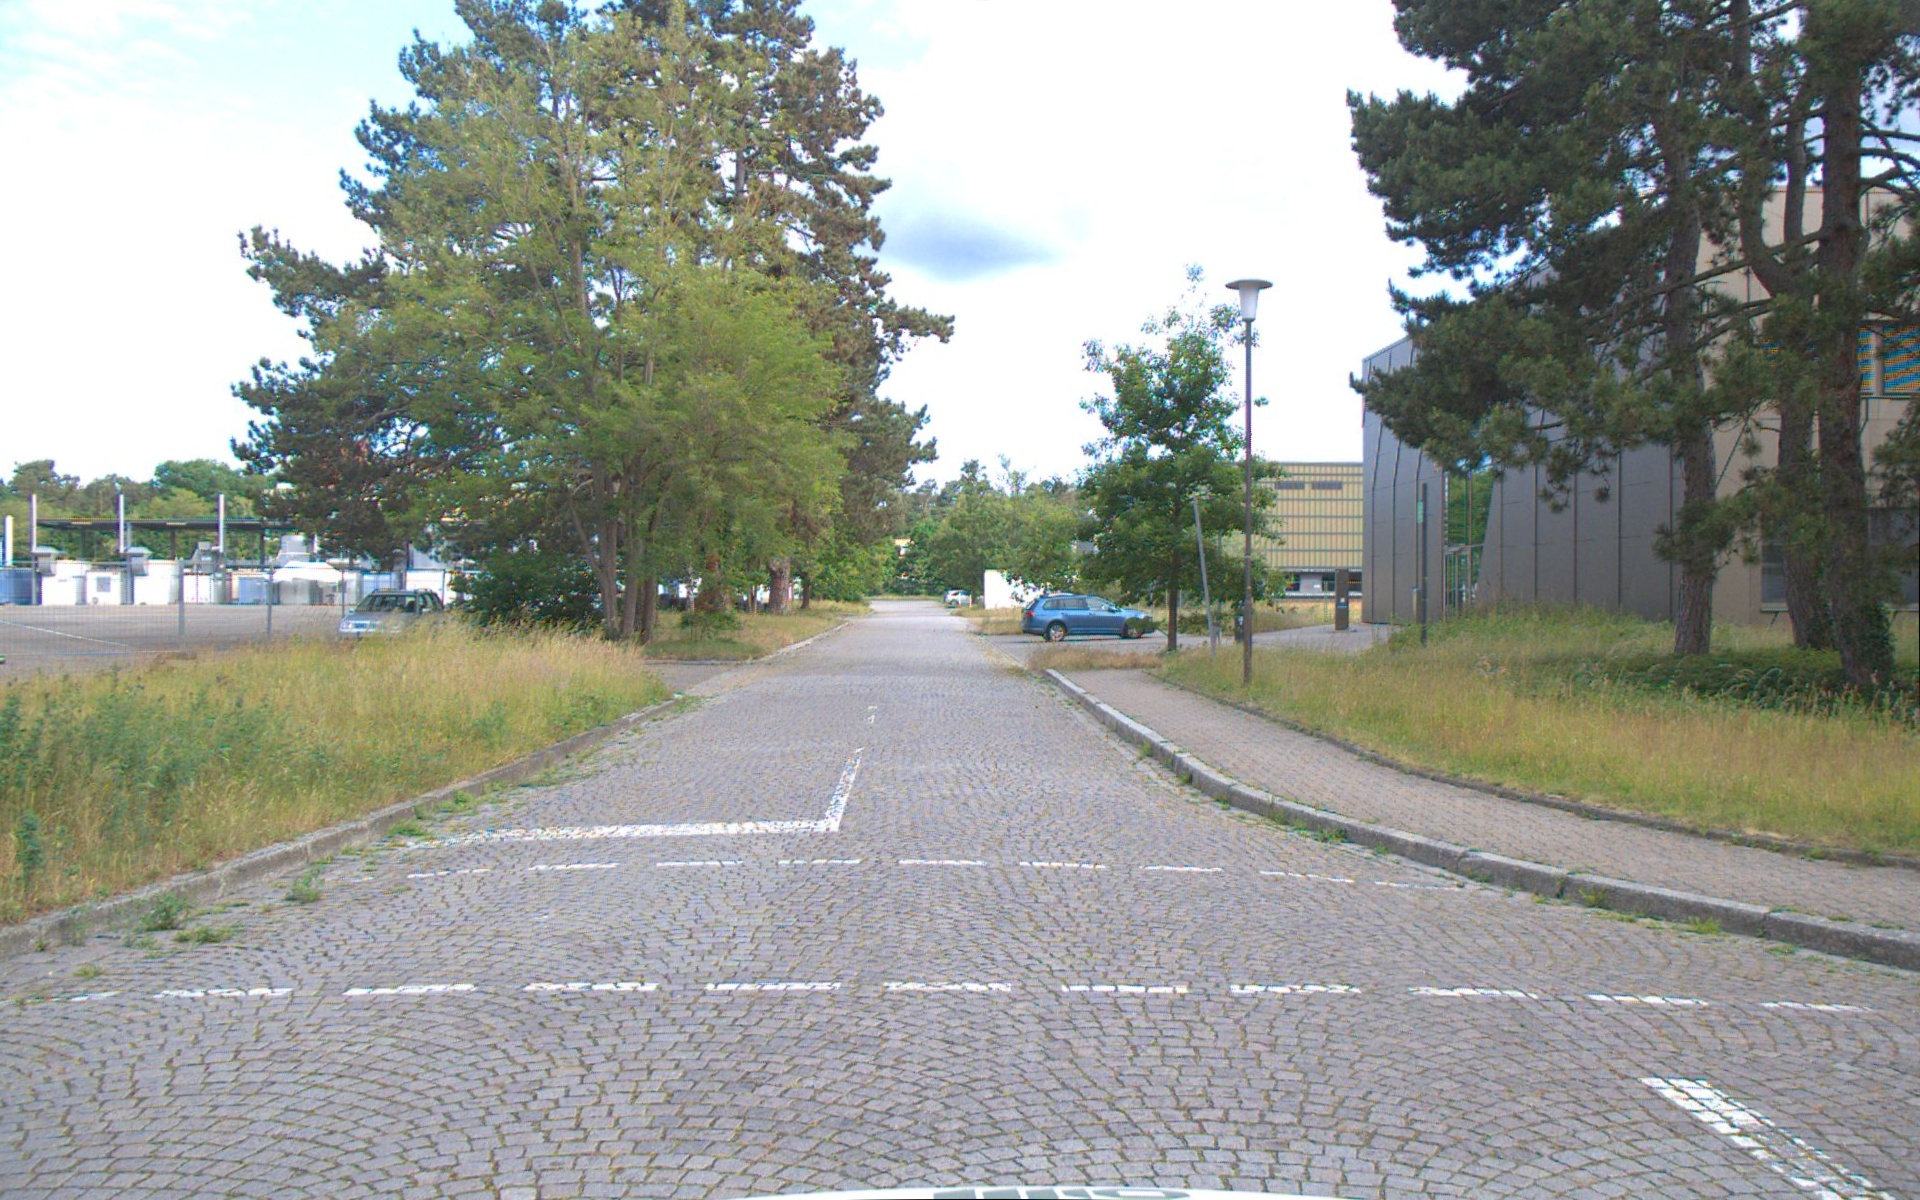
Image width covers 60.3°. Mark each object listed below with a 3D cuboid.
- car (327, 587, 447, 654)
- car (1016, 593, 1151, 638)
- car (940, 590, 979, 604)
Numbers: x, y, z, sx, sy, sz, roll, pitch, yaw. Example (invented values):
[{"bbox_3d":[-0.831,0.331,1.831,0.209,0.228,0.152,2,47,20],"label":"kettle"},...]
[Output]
[{"bbox_3d":[-13.684,0.455,39.691,1.580,1.513,3.999,0,0,-2],"label":"car"},{"bbox_3d":[4.080,0.504,55.168,4.258,1.447,1.999,0,0,-4],"label":"car"},{"bbox_3d":[-0.047,-0.292,172.136,3.911,1.422,1.997,0,0,-8],"label":"car"}]
